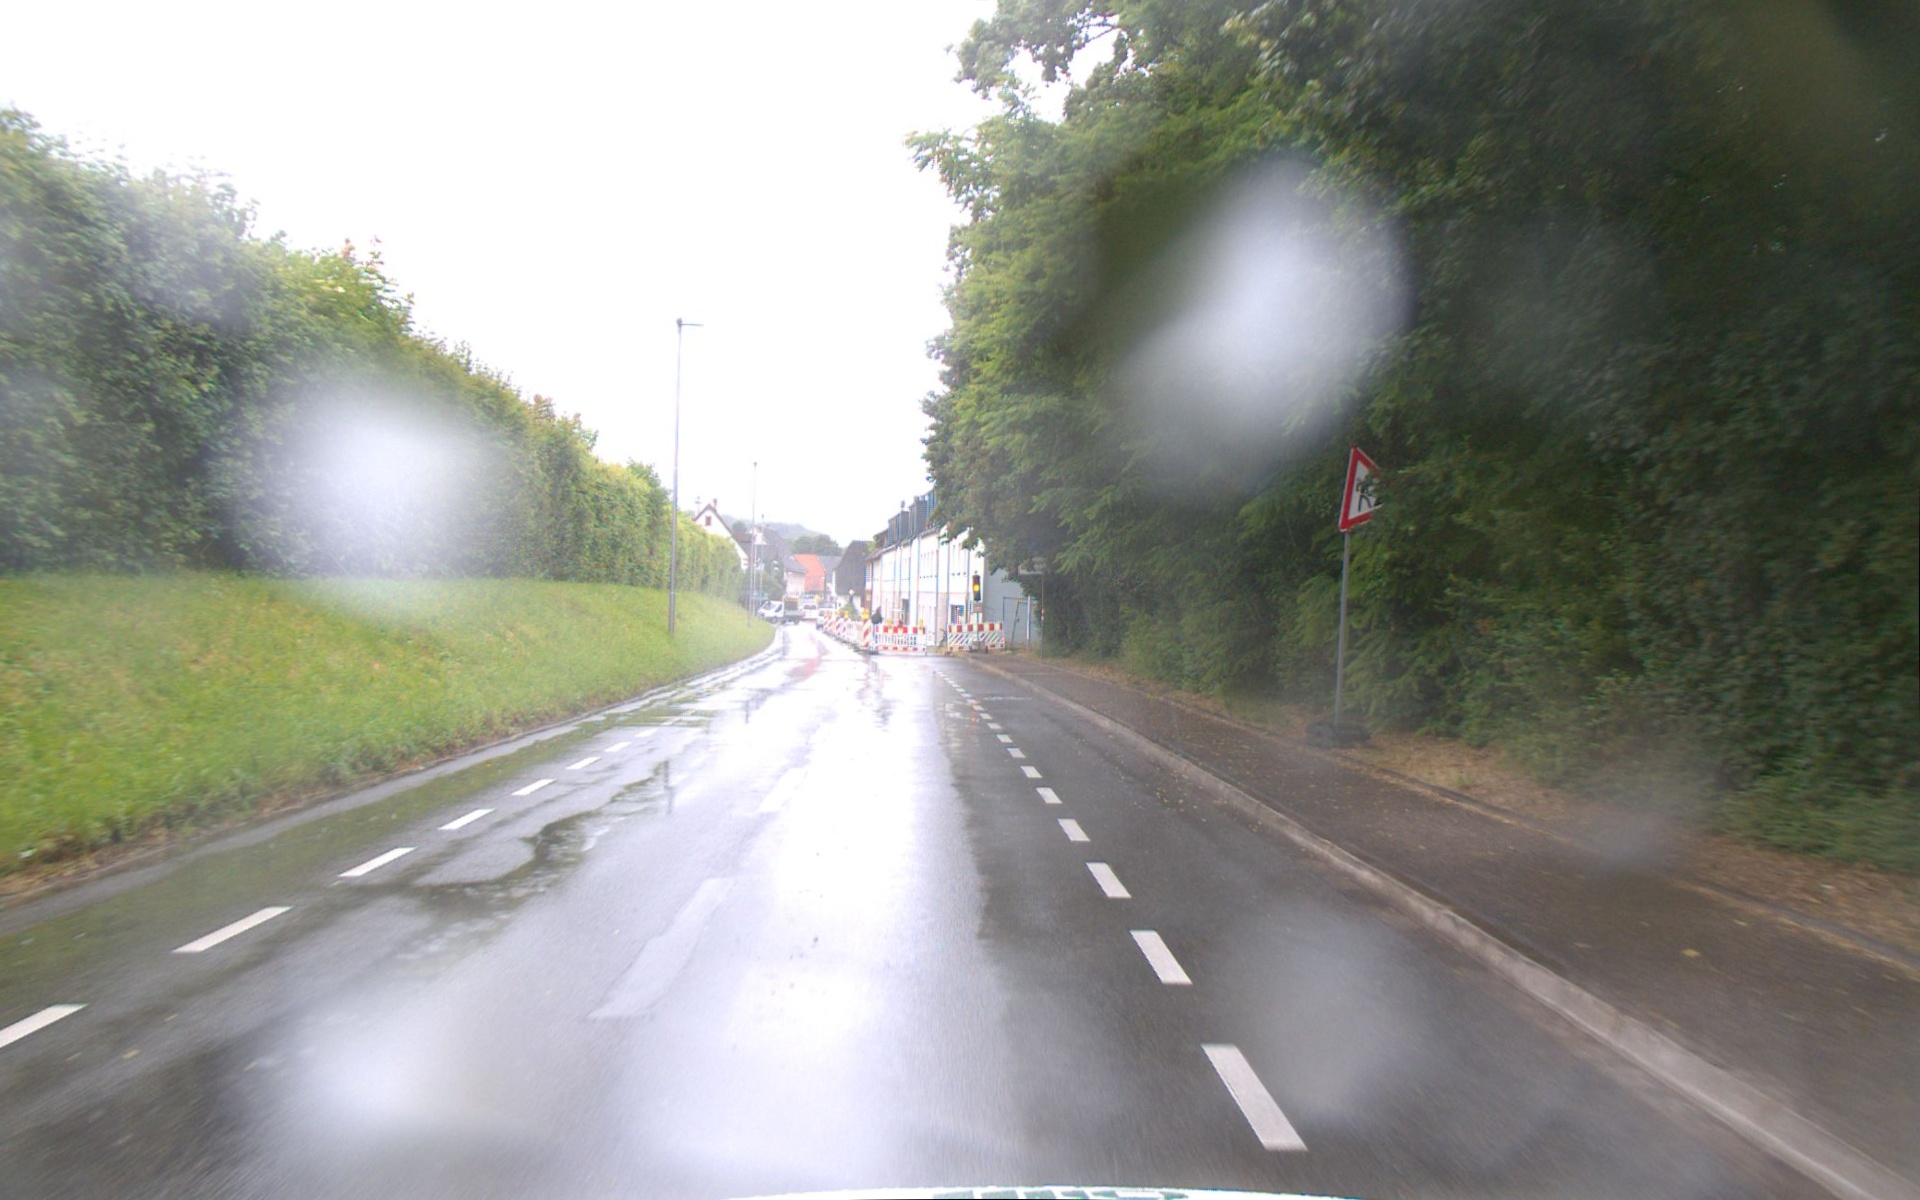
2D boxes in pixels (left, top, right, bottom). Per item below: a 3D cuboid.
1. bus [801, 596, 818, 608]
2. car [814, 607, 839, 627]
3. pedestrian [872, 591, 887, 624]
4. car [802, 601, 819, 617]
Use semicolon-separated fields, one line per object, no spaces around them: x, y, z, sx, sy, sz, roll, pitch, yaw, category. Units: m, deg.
-18.733;0.232;205.823;1.758;1.434;3.999;2;0;-1;bus
-11.845;1.535;146.792;1.953;1.639;3.999;2;0;-2;car
-4.485;0.428;92.362;0.653;1.786;0.810;2;0;-11;pedestrian
-17.025;0.984;188.265;1.783;1.670;4.090;2;0;-6;car
